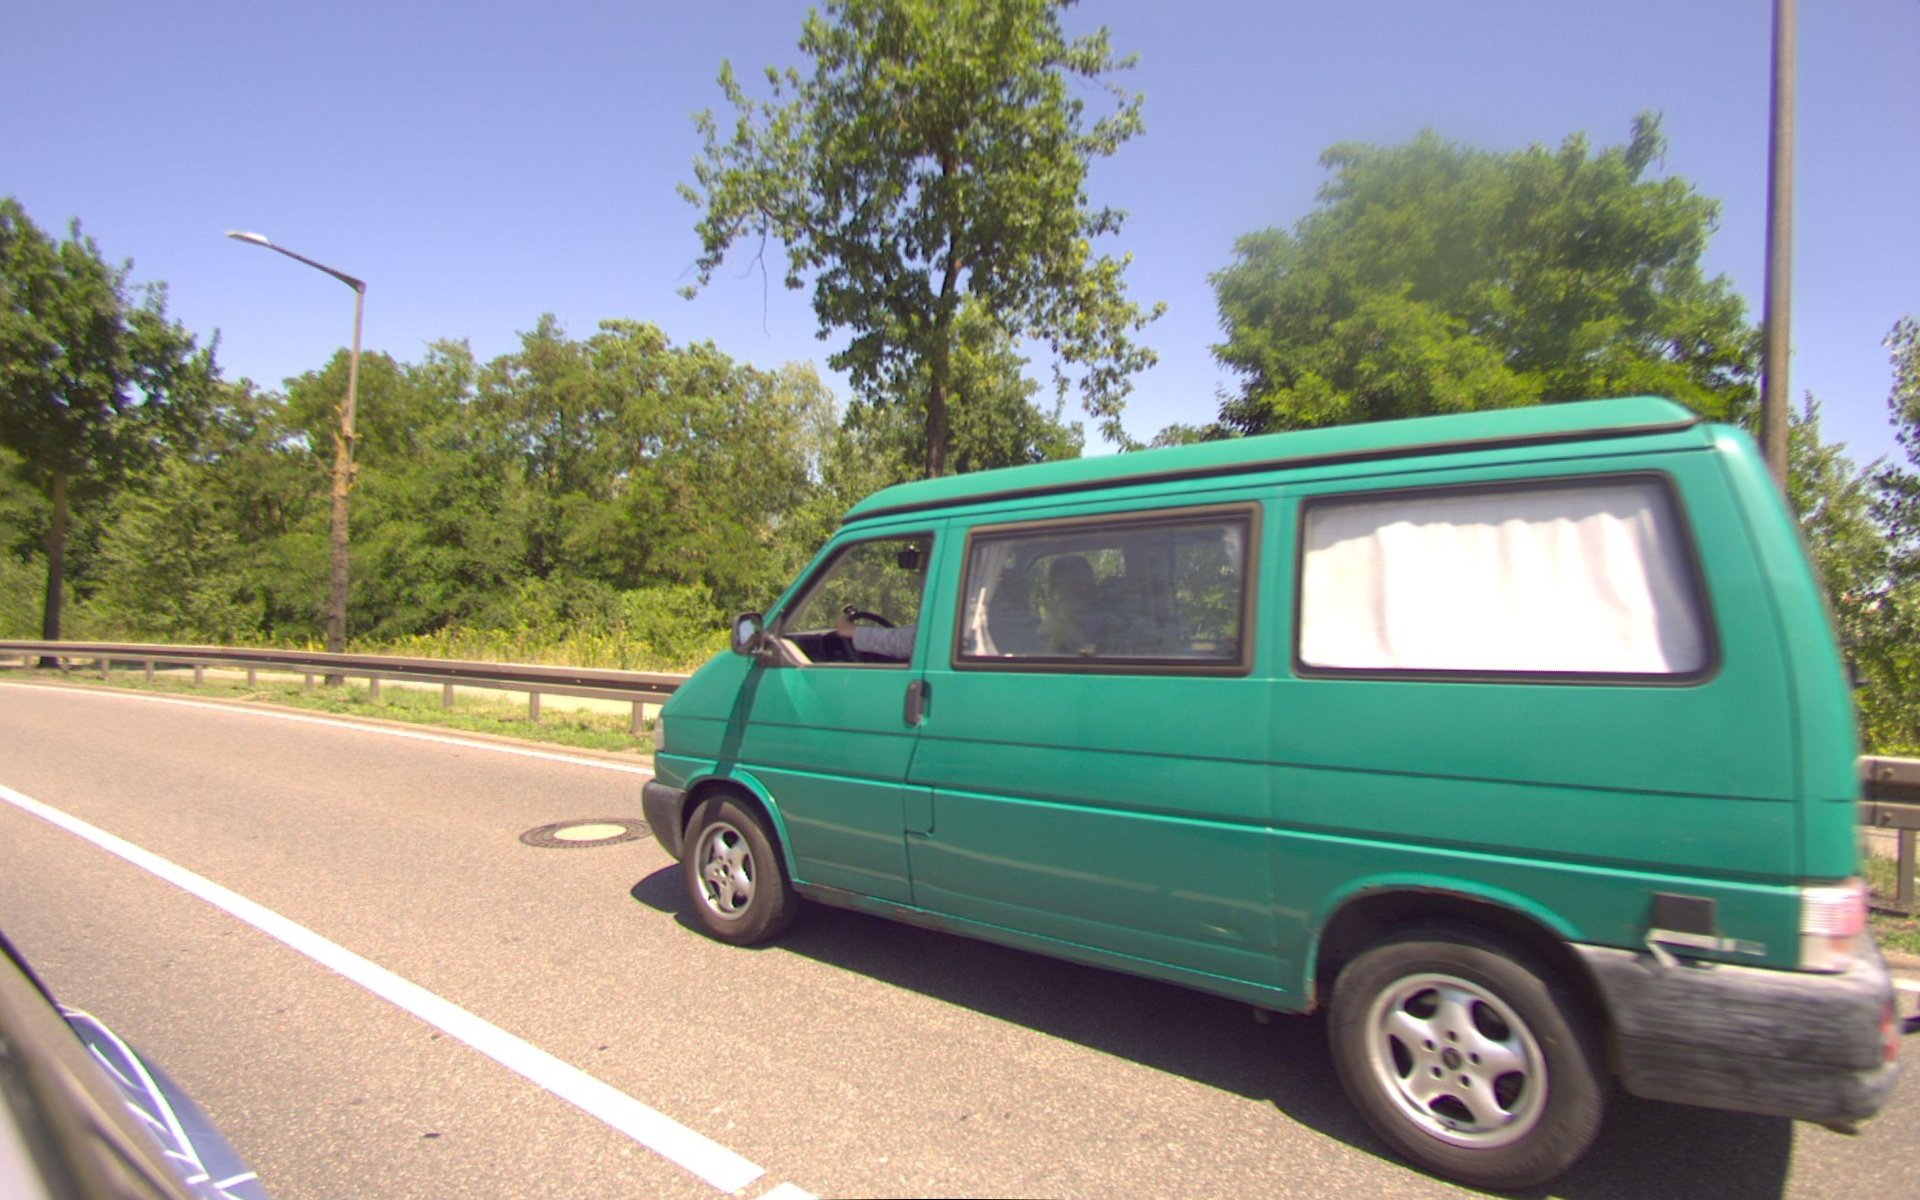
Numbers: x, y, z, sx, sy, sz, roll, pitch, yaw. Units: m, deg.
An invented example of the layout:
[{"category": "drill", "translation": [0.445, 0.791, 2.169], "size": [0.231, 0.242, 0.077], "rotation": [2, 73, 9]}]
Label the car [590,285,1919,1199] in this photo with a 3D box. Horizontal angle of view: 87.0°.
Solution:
[{"category": "car", "translation": [0.649, 0.406, 4.052], "size": [4.770, 1.953, 1.812], "rotation": [-1, -1, 39]}]
